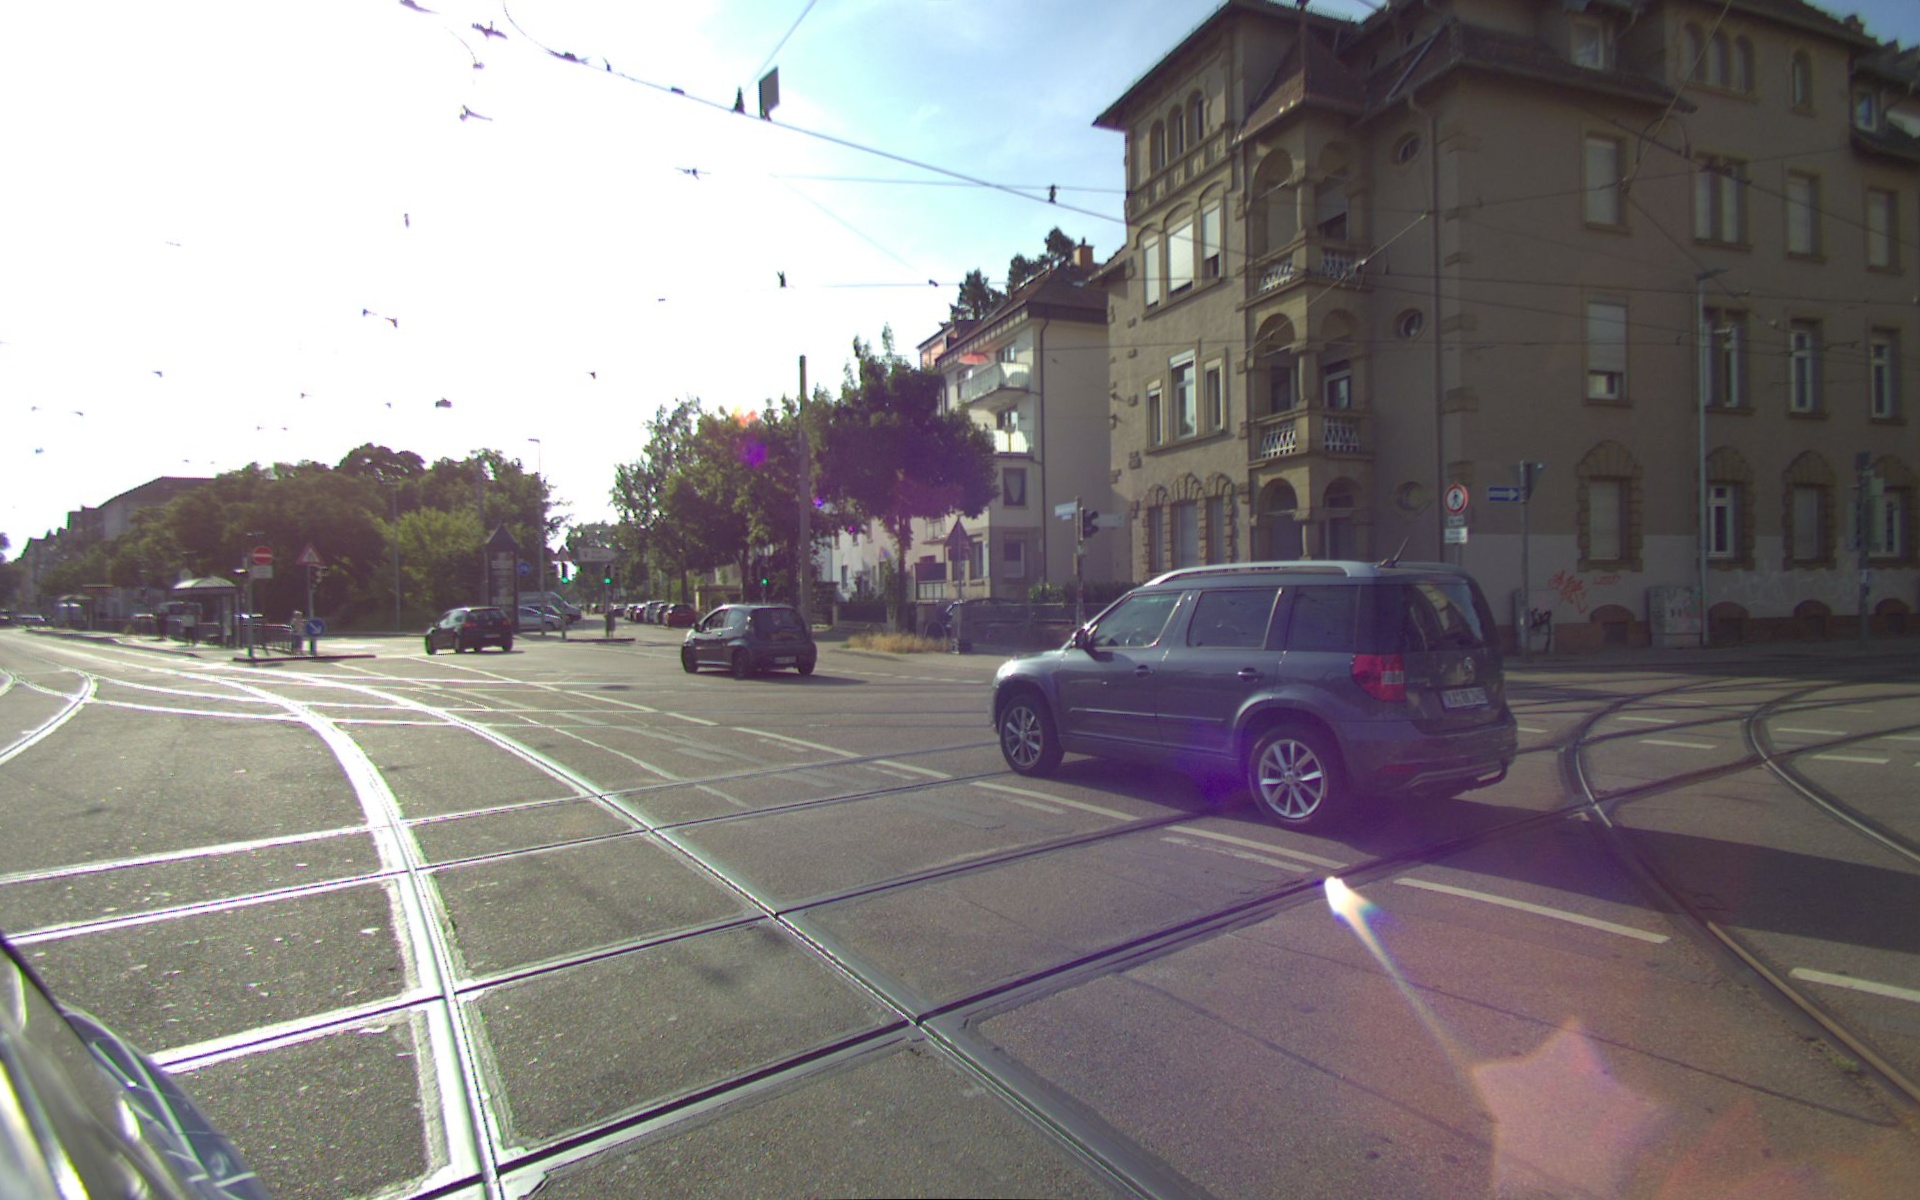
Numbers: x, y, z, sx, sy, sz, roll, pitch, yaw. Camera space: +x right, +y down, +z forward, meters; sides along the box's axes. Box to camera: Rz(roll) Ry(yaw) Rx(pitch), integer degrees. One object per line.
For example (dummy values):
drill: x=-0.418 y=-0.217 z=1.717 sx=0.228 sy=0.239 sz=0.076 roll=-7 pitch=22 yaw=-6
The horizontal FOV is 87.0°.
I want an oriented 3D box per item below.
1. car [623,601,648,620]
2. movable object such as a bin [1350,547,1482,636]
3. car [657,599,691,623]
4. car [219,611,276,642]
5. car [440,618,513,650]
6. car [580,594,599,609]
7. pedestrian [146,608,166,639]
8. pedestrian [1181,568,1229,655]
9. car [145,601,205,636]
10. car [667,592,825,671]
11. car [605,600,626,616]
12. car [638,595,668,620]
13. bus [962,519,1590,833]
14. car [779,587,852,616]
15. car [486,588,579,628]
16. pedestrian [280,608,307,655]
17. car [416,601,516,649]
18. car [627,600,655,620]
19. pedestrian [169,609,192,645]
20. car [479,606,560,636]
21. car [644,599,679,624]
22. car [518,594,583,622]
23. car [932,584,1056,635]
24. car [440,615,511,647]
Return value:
car: x=-28.835 y=0.910 z=89.829 sx=1.786 sy=1.548 sz=4.013 roll=-1 pitch=0 yaw=-23
movable object such as a bin: x=9.102 y=-0.155 z=20.257 sx=2.359 sy=1.722 sz=0.263 roll=-1 pitch=0 yaw=14
car: x=-17.819 y=0.658 z=62.981 sx=1.523 sy=1.437 sz=3.877 roll=-2 pitch=0 yaw=-23
car: x=-39.332 y=1.474 z=55.792 sx=4.746 sy=1.506 sz=1.747 roll=-3 pitch=-1 yaw=45
car: x=-29.273 y=2.037 z=61.305 sx=3.931 sy=1.767 sz=1.860 roll=-2 pitch=0 yaw=-27
car: x=-46.324 y=0.194 z=126.488 sx=1.787 sy=1.813 sz=4.013 roll=-1 pitch=0 yaw=-26
pedestrian: x=-43.571 y=1.286 z=54.839 sx=0.689 sy=1.640 sz=0.726 roll=-1 pitch=0 yaw=44
pedestrian: x=4.844 y=0.217 z=20.048 sx=0.669 sy=1.664 sz=0.606 roll=-2 pitch=0 yaw=-19
car: x=-53.547 y=1.273 z=68.966 sx=5.249 sy=2.256 sz=2.155 roll=-2 pitch=0 yaw=40
car: x=-4.464 y=0.613 z=20.785 sx=1.614 sy=1.444 sz=3.634 roll=-2 pitch=0 yaw=-40
car: x=-39.911 y=0.939 z=117.294 sx=1.786 sy=1.813 sz=4.013 roll=-1 pitch=0 yaw=-26
car: x=-23.453 y=0.585 z=77.233 sx=1.786 sy=1.813 sz=4.013 roll=-1 pitch=0 yaw=-23
bus: x=1.998 y=0.399 z=7.524 sx=1.820 sy=1.648 sz=4.168 roll=-2 pitch=0 yaw=-37
car: x=-8.644 y=0.088 z=60.428 sx=3.931 sy=1.569 sz=1.862 roll=-1 pitch=0 yaw=-20
car: x=-33.306 y=0.603 z=78.879 sx=6.488 sy=2.830 sz=1.778 roll=-2 pitch=1 yaw=-25
pedestrian: x=-23.227 y=1.077 z=35.281 sx=0.715 sy=1.601 sz=0.584 roll=-1 pitch=0 yaw=40
car: x=-16.450 y=0.817 z=33.645 sx=4.002 sy=1.444 sz=1.747 roll=-1 pitch=0 yaw=45
car: x=-26.682 y=0.819 z=84.619 sx=1.786 sy=1.626 sz=4.013 roll=-1 pitch=0 yaw=-23
pedestrian: x=-36.387 y=1.253 z=47.246 sx=0.727 sy=1.640 sz=0.698 roll=-1 pitch=0 yaw=44
car: x=-23.828 y=1.120 z=54.722 sx=3.931 sy=1.439 sz=1.778 roll=-2 pitch=0 yaw=-25
car: x=-20.143 y=0.772 z=68.187 sx=1.786 sy=1.584 sz=4.013 roll=-1 pitch=0 yaw=-23
car: x=-28.028 y=0.528 z=69.260 sx=3.931 sy=1.767 sz=1.860 roll=-2 pitch=0 yaw=-27
car: x=1.200 y=0.313 z=35.649 sx=3.931 sy=1.644 sz=1.782 roll=-2 pitch=0 yaw=-21
car: x=-30.179 y=1.913 z=63.071 sx=3.931 sy=1.767 sz=1.860 roll=-2 pitch=0 yaw=-27
